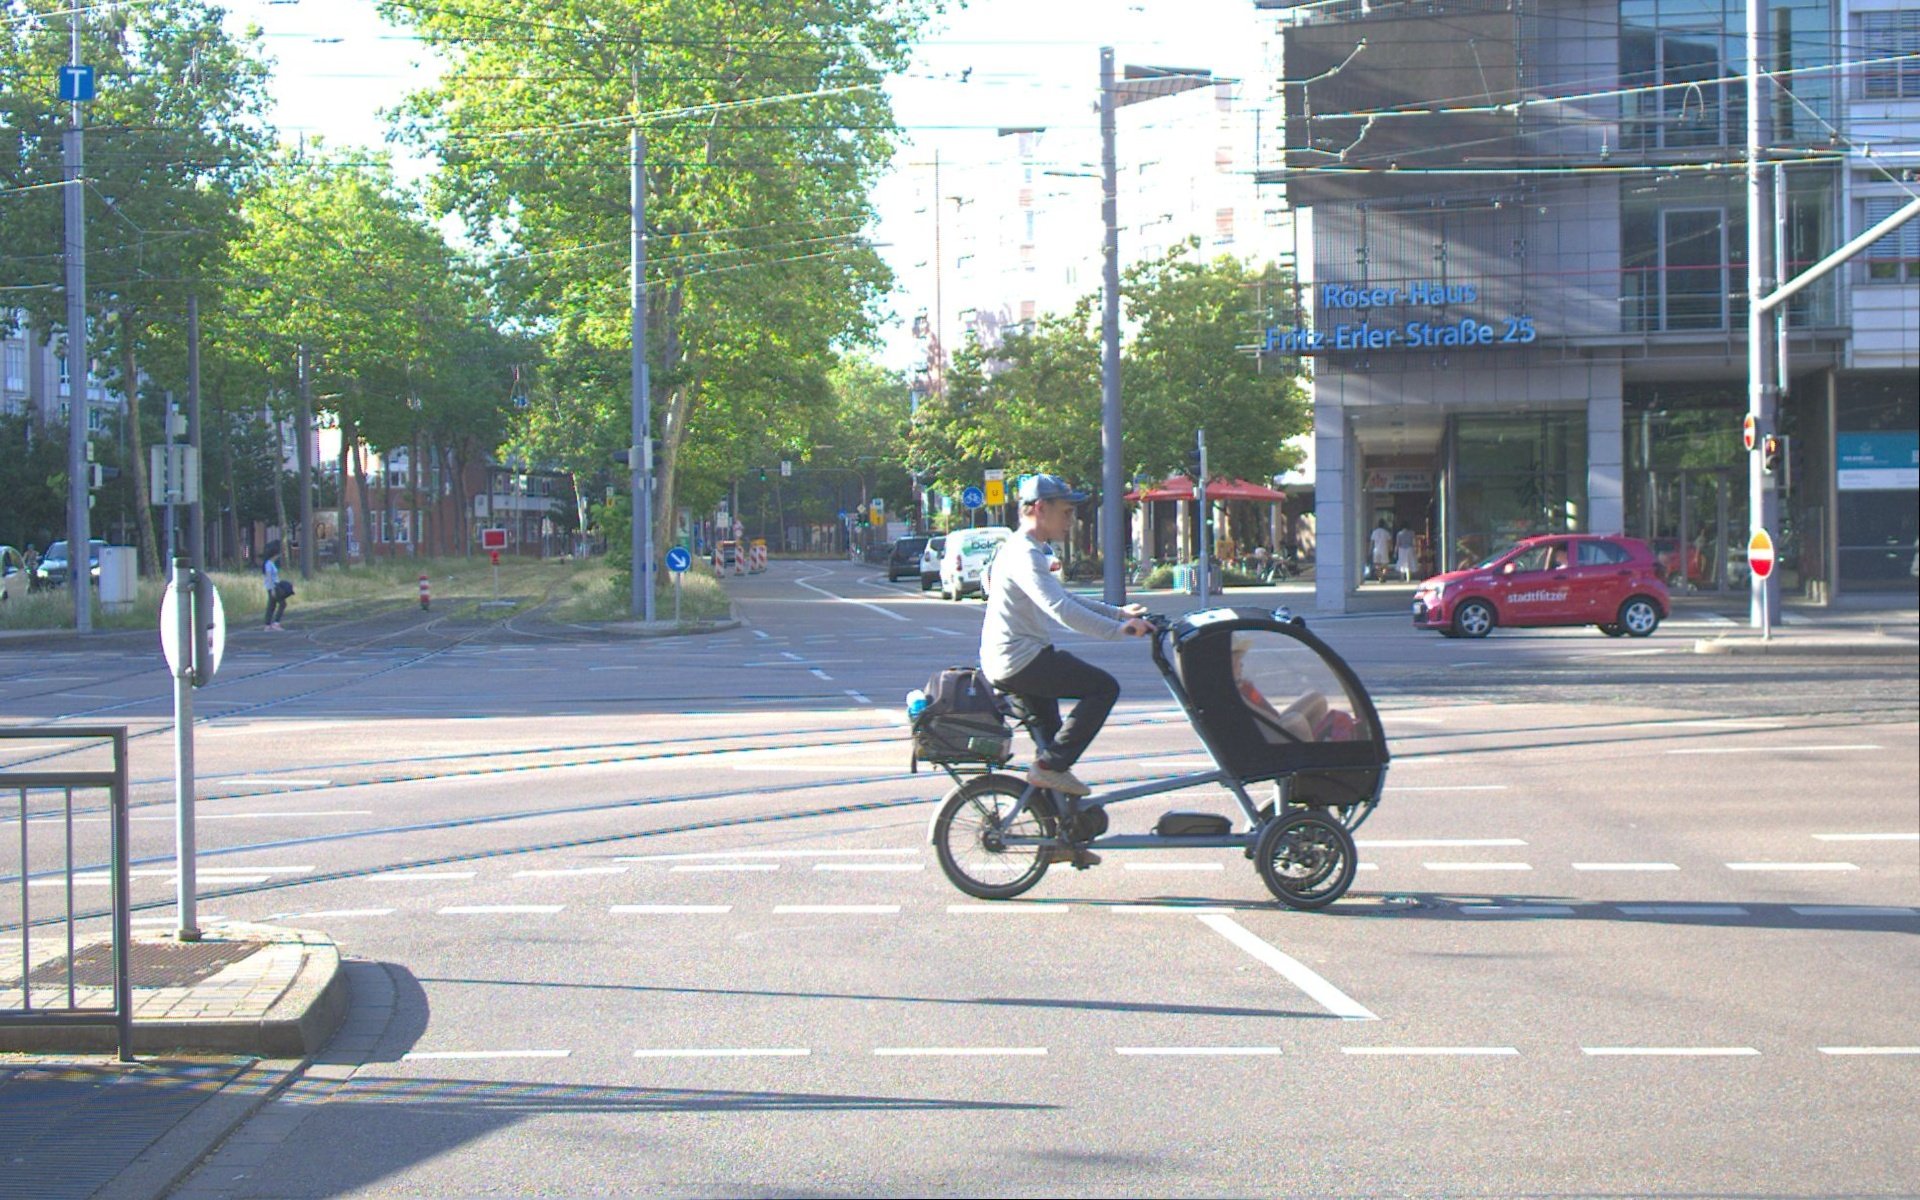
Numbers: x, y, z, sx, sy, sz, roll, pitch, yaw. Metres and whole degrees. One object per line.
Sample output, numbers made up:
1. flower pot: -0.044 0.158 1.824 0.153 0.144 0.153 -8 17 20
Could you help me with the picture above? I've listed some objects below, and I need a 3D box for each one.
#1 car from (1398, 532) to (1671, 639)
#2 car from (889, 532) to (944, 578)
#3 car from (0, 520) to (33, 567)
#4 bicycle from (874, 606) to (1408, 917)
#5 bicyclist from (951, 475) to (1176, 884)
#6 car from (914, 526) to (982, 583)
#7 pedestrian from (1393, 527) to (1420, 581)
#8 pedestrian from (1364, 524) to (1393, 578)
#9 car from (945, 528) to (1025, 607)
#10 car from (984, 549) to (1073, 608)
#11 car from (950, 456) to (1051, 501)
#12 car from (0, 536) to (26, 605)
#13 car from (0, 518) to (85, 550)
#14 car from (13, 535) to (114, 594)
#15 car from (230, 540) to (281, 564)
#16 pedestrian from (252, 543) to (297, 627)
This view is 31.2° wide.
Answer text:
1. car: 8.309 -0.227 49.894 3.596 1.461 1.796 -1 1 -2
2. car: -1.596 -1.668 126.731 1.993 1.656 4.000 -1 1 -1
3. car: -31.676 -1.862 113.289 1.906 1.505 4.001 1 1 -12
4. bicycle: 0.759 0.656 14.455 2.157 1.222 1.072 0 2 3
5. bicyclist: 0.443 0.324 14.508 0.904 1.675 0.691 -1 1 3
6. car: -0.388 -1.402 105.014 1.993 1.656 4.000 -1 1 -1
7. pedestrian: 12.114 -1.256 93.219 0.706 1.460 0.384 -1 1 9
8. pedestrian: 11.369 -1.337 93.378 0.739 1.460 0.536 -1 1 9
9. car: 0.636 -0.876 89.703 1.993 1.985 4.000 -1 1 -1
10. car: 1.625 -0.539 82.868 1.993 1.327 4.000 -1 1 -1
11. car: 1.663 -4.961 140.720 3.764 1.744 1.780 1 0 14
12. car: -22.143 -0.659 76.536 1.993 1.503 4.001 -1 1 -6
13. car: -46.350 -3.316 173.430 3.987 1.547 1.607 1 1 -31
14. car: -23.626 -0.949 90.695 1.993 1.503 4.001 -1 1 -6
15. car: -44.591 -3.037 217.599 1.994 1.503 3.999 -1 1 7
16. pedestrian: -12.597 -0.276 63.180 0.754 1.525 0.508 0 1 -7
